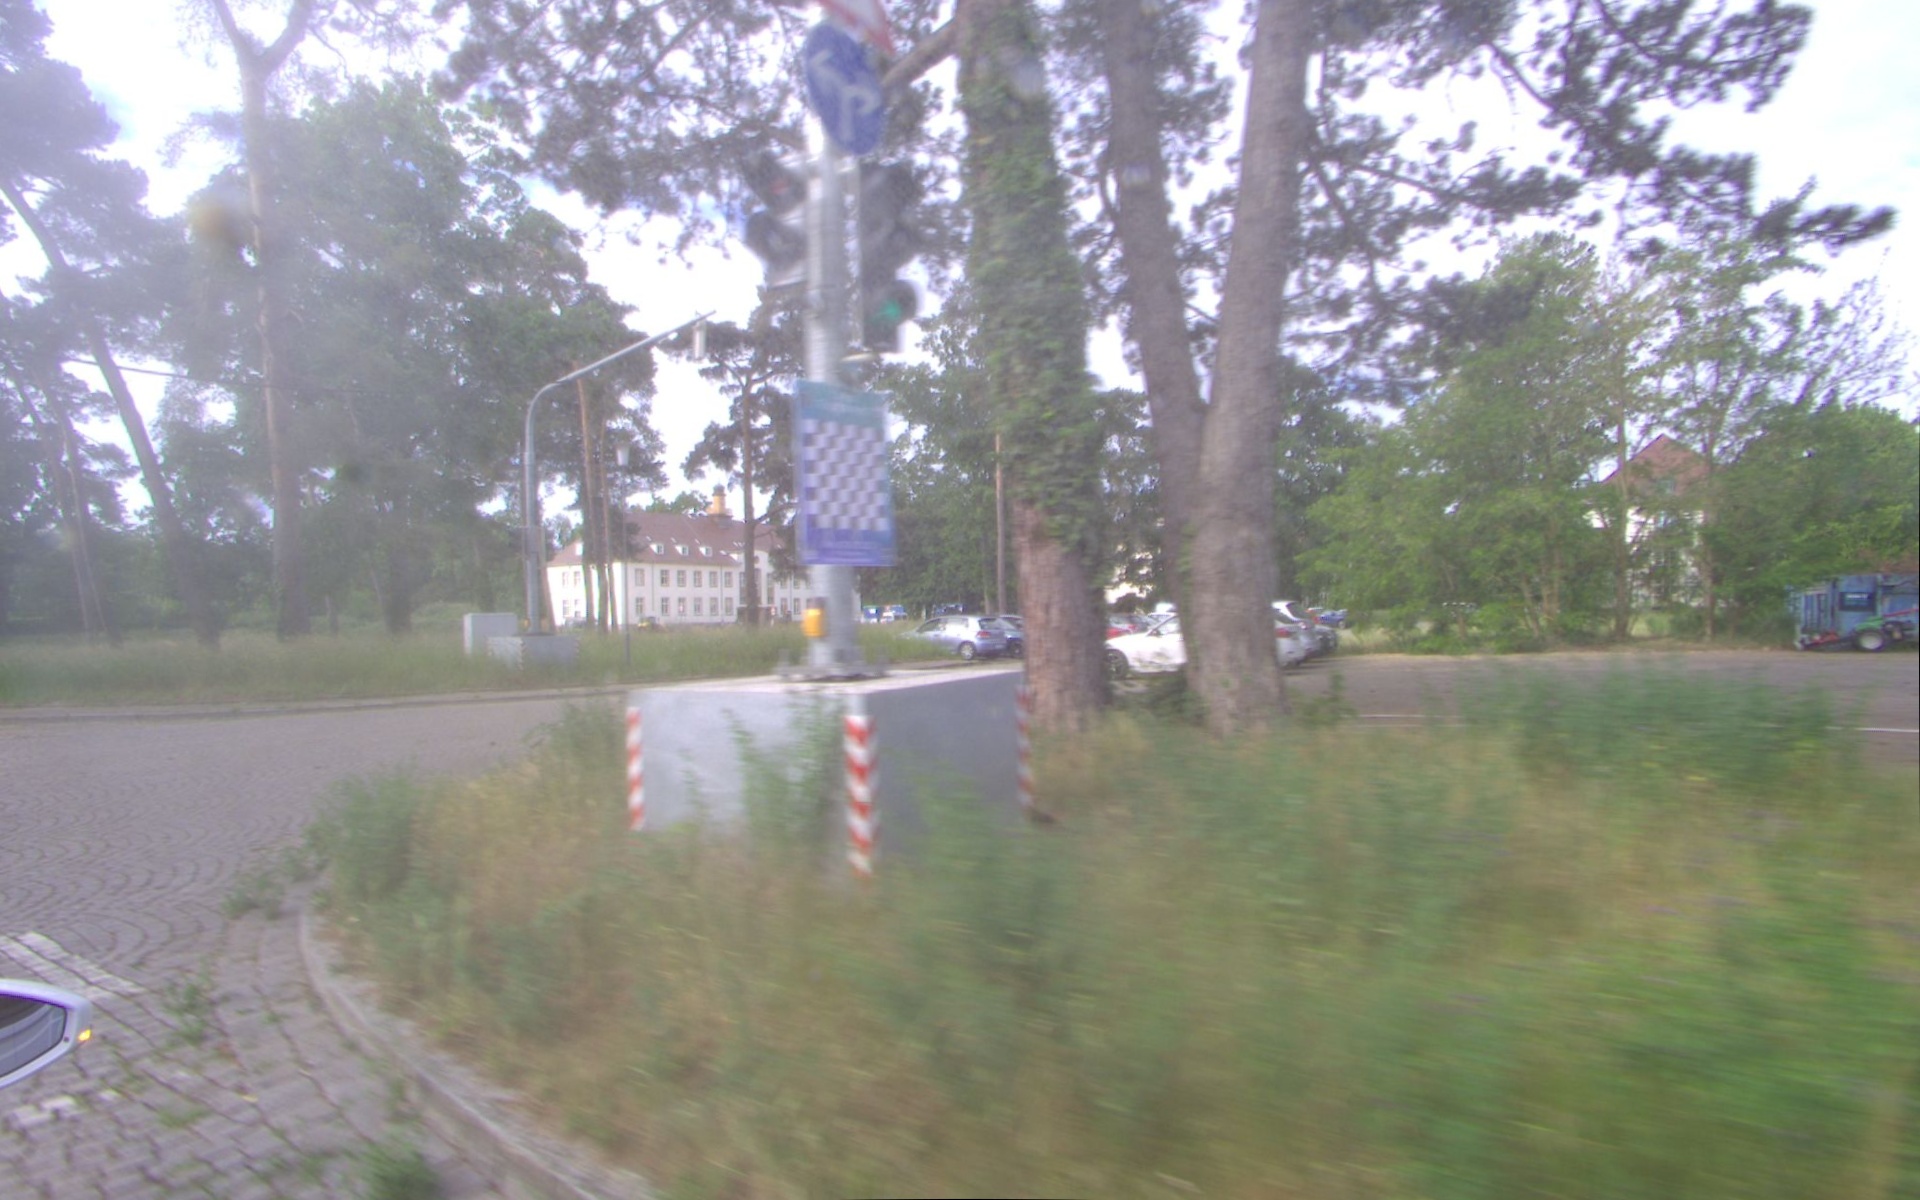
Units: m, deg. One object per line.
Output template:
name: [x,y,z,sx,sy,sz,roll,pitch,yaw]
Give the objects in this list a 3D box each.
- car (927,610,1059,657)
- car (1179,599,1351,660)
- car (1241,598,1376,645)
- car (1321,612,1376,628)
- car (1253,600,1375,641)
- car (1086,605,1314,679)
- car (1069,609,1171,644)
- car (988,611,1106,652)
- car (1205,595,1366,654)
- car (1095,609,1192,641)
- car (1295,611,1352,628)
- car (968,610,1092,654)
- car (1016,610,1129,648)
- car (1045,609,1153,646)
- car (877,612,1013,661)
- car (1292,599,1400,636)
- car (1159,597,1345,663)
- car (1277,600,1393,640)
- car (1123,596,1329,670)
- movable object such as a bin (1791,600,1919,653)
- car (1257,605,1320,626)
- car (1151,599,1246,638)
car: [1.136,1.173,35.543,4.381,1.544,1.750,-1,0,30]
car: [8.639,0.819,28.463,4.382,1.598,1.863,-1,0,30]
car: [12.676,0.778,36.449,4.382,1.598,1.863,-1,0,30]
car: [31.409,1.646,80.943,3.938,1.225,1.656,-1,0,28]
car: [14.234,0.831,40.328,4.382,1.598,1.863,-1,0,30]
car: [5.065,0.888,21.302,4.382,1.434,1.750,-2,-1,31]
car: [7.440,1.216,46.622,4.382,1.544,1.750,-1,0,31]
car: [3.471,1.261,40.123,4.382,1.544,1.750,-1,0,31]
car: [9.954,0.743,30.695,4.382,1.708,1.863,-1,0,30]
car: [9.026,1.223,49.284,4.382,1.544,1.750,-1,0,31]
car: [28.215,1.493,77.713,3.938,1.225,1.656,-1,0,28]
car: [2.616,1.188,37.749,4.382,1.544,1.750,-1,0,31]
car: [4.695,1.204,42.050,4.382,1.544,1.750,-1,0,31]
car: [6.079,1.213,44.010,4.382,1.544,1.750,-1,0,31]
car: [-0.549,1.214,33.739,4.388,1.544,1.747,-1,0,35]
car: [17.527,0.804,45.502,4.382,1.598,1.863,-1,0,30]
car: [7.636,0.771,26.310,4.382,1.598,1.863,-1,0,30]
car: [15.997,0.855,42.733,4.382,1.598,1.863,-1,0,30]
car: [6.243,0.756,23.614,4.382,1.598,1.863,-1,0,30]
movable object such as a bin: [20.019,0.562,22.042,2.506,1.098,1.059,0,1,32]
car: [22.729,1.063,69.298,3.938,1.373,1.656,-1,0,28]
car: [12.627,1.006,53.009,4.588,1.993,1.750,-1,0,31]
